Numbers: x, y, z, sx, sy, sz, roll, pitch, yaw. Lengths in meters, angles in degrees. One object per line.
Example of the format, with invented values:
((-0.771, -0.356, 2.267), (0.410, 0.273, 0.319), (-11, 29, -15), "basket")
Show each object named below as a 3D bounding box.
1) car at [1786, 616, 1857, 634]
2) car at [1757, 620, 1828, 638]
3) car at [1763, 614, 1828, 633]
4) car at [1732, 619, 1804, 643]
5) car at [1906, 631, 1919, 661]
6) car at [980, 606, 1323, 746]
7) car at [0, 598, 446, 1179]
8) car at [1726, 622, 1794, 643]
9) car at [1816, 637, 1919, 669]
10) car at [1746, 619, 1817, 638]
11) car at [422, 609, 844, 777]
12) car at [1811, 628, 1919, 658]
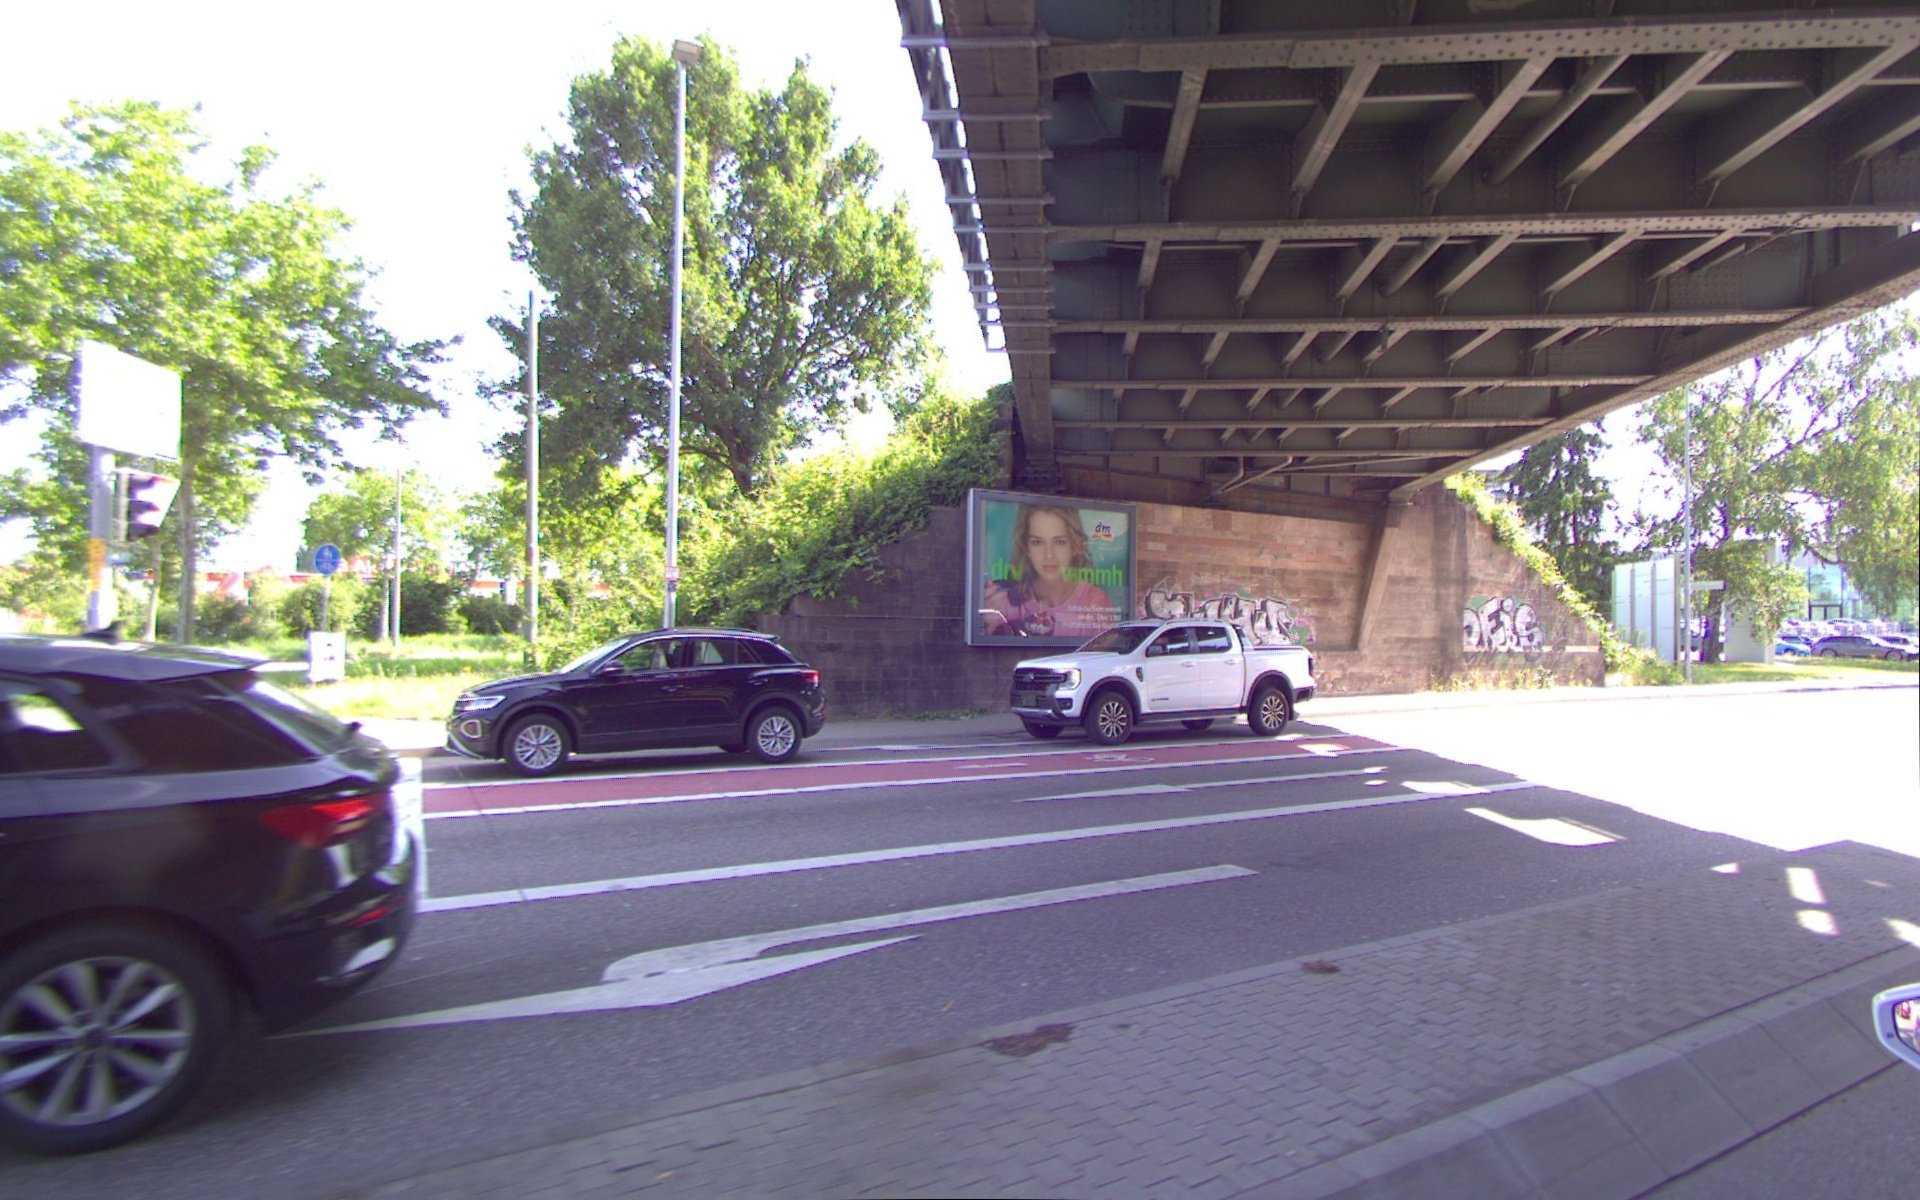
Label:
((78.378, 2.259, 91.453), (1.963, 1.515, 4.498), (2, 0, -30), "car")
((73.920, 2.579, 89.249), (1.958, 1.504, 4.476), (2, -2, -31), "car")
((74.069, 2.103, 89.073), (2.027, 1.515, 3.968), (2, 0, -30), "car")
((69.727, 2.674, 86.719), (1.958, 1.988, 4.476), (2, -2, -31), "car")
((63.523, 3.043, 63.909), (1.975, 1.900, 4.444), (2, 0, -28), "car")
((3.108, 1.155, 15.880), (5.388, 1.885, 1.984), (2, -4, -31), "car")
((-3.773, 0.715, 2.791), (4.072, 1.466, 1.772), (2, -2, -30), "car")
((68.060, 2.773, 85.472), (1.646, 1.728, 4.246), (2, -2, -31), "car")
((52.092, 3.025, 57.546), (1.976, 1.567, 4.194), (2, 0, -30), "car")
((71.965, 2.502, 88.055), (1.958, 1.571, 4.476), (2, -2, -31), "car")
((-3.705, 0.974, 11.597), (4.336, 1.617, 1.863), (2, -2, -31), "car")
((50.398, 2.369, 55.604), (1.976, 1.408, 4.665), (2, 0, -30), "car")
